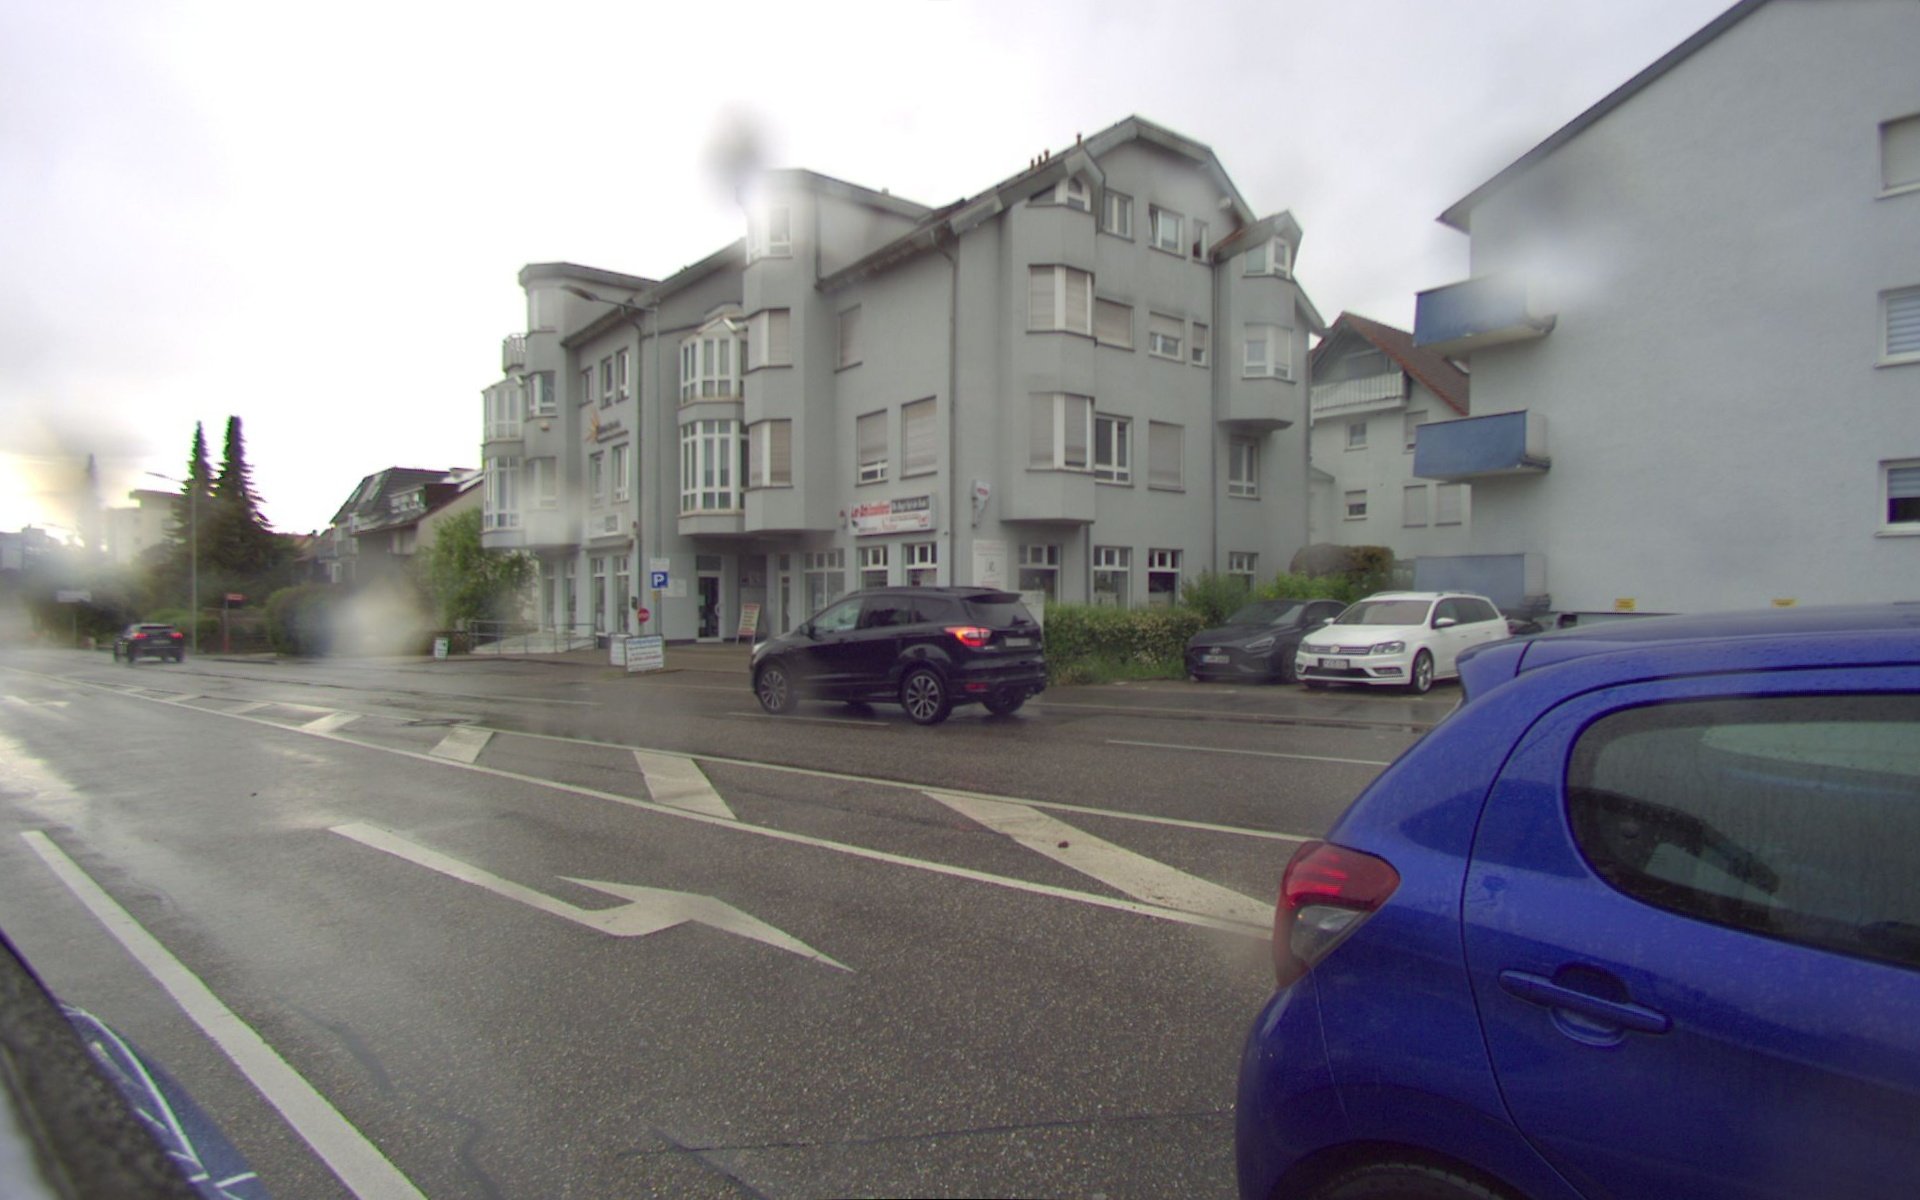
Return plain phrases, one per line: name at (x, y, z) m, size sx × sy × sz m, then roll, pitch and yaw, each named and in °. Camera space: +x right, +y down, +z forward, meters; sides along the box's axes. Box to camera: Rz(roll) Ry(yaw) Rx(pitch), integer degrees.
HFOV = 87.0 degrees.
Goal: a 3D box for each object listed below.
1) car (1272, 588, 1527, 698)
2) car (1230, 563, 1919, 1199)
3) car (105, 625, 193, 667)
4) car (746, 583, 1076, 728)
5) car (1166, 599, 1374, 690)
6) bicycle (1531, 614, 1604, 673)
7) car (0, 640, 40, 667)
car at (6.972, 0.606, 15.805) m, size 4.685 × 1.471 × 1.883 m, roll 0°, pitch -2°, yaw -42°
car at (2.227, 0.639, 1.196) m, size 3.362 × 1.423 × 1.489 m, roll -2°, pitch -1°, yaw 41°
car at (-32.689, 1.804, 40.759) m, size 3.995 × 1.523 × 1.948 m, roll -1°, pitch 0°, yaw 39°
car at (-0.747, 0.673, 13.309) m, size 4.180 × 1.609 × 1.860 m, roll -2°, pitch -2°, yaw 39°
car at (5.483, 0.692, 17.650) m, size 1.851 × 1.366 × 3.941 m, roll -1°, pitch 0°, yaw 45°
bicycle at (11.134, 0.794, 18.562) m, size 1.065 × 1.061 × 0.343 m, roll -2°, pitch -1°, yaw 41°
car at (-62.525, 3.494, 66.914) m, size 4.537 × 1.637 × 1.973 m, roll -2°, pitch 0°, yaw 41°
